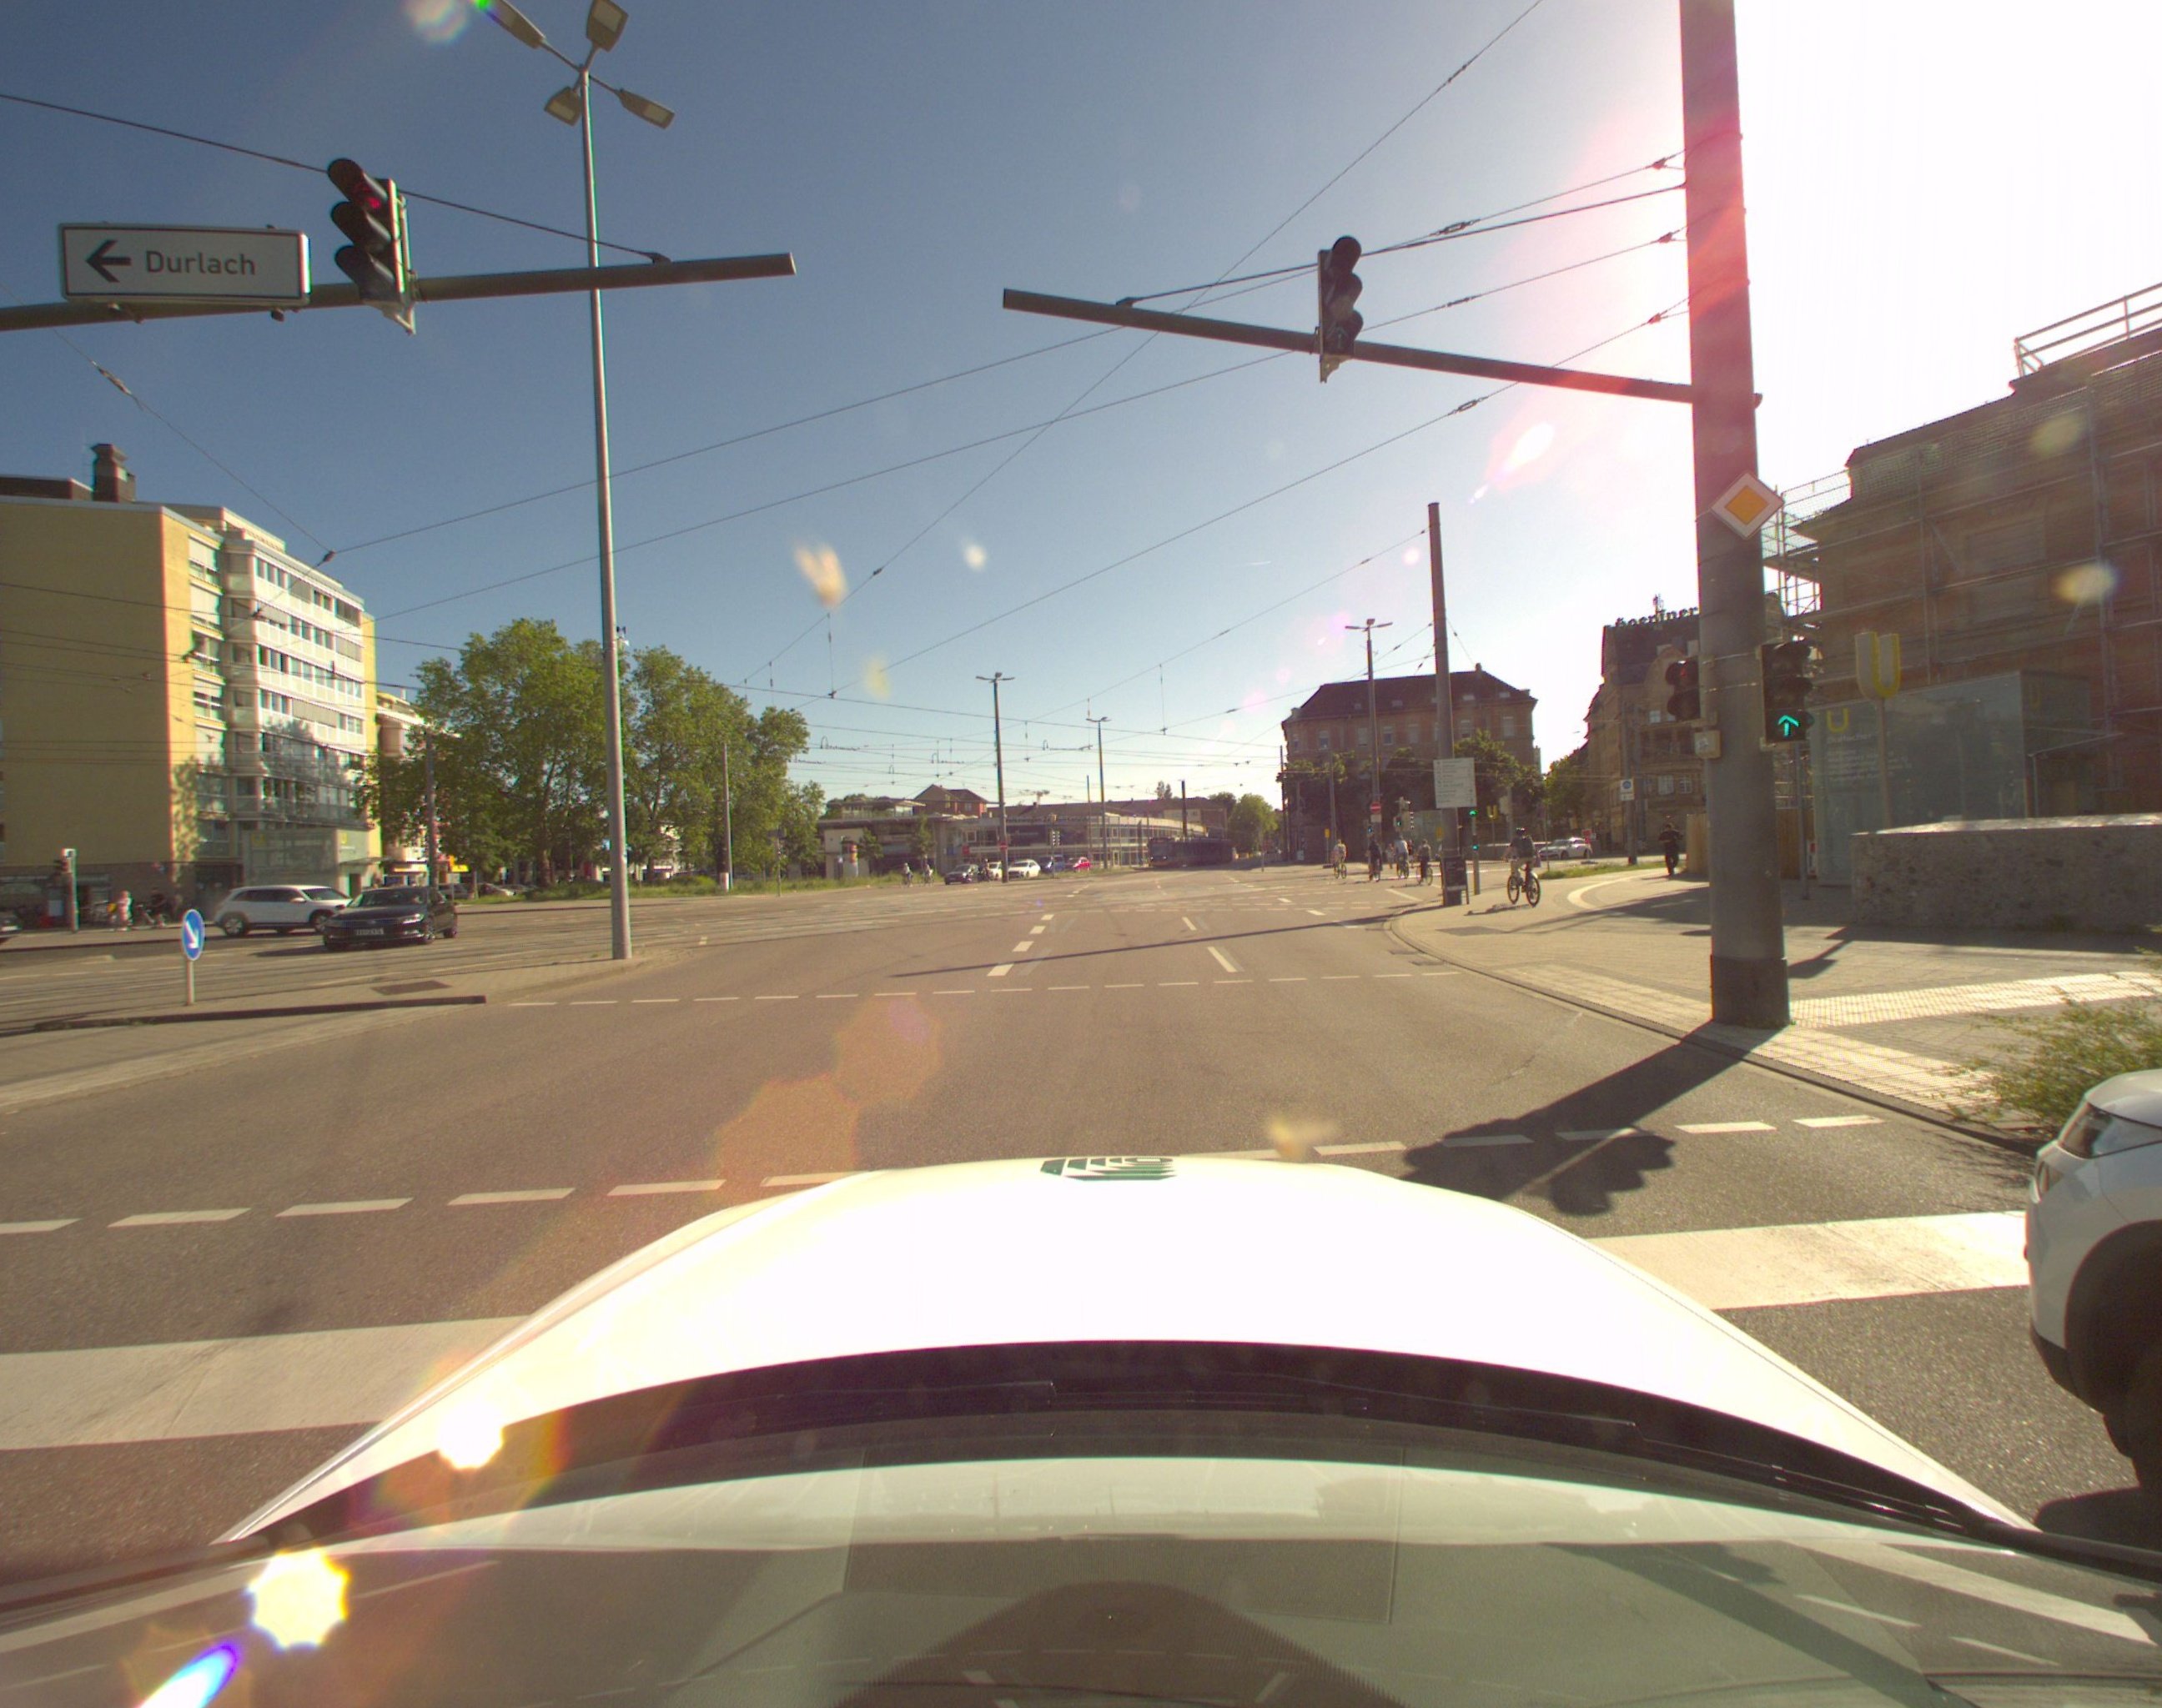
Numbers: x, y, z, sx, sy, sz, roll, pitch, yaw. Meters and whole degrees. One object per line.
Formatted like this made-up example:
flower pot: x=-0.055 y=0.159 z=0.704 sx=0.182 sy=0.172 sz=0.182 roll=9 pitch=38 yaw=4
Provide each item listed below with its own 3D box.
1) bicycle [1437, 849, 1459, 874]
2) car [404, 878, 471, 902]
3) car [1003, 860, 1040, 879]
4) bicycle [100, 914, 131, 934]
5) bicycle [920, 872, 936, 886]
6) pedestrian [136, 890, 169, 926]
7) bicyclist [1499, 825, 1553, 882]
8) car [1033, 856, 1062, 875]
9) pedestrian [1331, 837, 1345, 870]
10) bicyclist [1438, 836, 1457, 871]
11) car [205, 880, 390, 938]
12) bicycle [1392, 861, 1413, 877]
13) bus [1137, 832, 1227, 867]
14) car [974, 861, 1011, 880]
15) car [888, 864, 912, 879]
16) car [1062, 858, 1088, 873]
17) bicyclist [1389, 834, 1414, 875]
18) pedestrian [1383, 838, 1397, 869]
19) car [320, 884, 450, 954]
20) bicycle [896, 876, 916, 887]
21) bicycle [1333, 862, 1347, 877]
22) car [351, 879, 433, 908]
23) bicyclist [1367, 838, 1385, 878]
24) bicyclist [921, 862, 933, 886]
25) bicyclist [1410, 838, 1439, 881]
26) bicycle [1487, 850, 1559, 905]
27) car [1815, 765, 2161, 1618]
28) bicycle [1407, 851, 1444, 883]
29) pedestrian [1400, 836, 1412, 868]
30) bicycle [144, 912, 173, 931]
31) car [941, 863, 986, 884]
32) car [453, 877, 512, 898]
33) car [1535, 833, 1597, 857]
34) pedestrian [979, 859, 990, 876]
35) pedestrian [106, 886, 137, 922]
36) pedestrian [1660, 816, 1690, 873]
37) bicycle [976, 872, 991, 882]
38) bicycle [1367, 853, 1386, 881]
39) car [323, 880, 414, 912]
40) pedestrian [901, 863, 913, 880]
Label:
bicycle: x=17.176 y=0.324 z=38.150 sx=0.568 sy=1.125 sz=1.746 roll=-2 pitch=0 yaw=12
car: x=-49.875 y=2.762 z=63.193 sx=3.742 sy=1.662 sz=1.585 roll=-2 pitch=-1 yaw=-18
car: x=-4.620 y=1.208 z=64.084 sx=1.613 sy=1.382 sz=3.754 roll=-2 pitch=0 yaw=16
bicycle: x=-42.910 y=3.096 z=36.214 sx=0.489 sy=0.812 sz=1.595 roll=-2 pitch=-1 yaw=-35
bicycle: x=-11.281 y=1.827 z=59.983 sx=0.464 sy=0.926 sz=1.482 roll=-3 pitch=0 yaw=20
pedestrian: x=-41.615 y=2.413 z=36.502 sx=0.769 sy=1.560 sz=0.610 roll=-2 pitch=-1 yaw=-27
bicyclist: x=10.609 y=-0.007 z=19.448 sx=0.717 sy=1.279 sz=0.907 roll=-4 pitch=-1 yaw=1
car: x=-3.158 y=1.091 z=78.079 sx=1.613 sy=1.692 sz=3.702 roll=-2 pitch=0 yaw=16
pedestrian: x=12.452 y=-0.013 z=39.416 sx=0.543 sy=1.562 sz=0.863 roll=-2 pitch=-1 yaw=22
bicyclist: x=17.147 y=-0.024 z=38.108 sx=0.568 sy=1.568 sz=0.950 roll=-2 pitch=-1 yaw=12
car: x=-26.437 y=1.831 z=27.597 sx=4.283 sy=1.654 sz=1.856 roll=-2 pitch=0 yaw=-3
bicycle: x=14.180 y=0.651 z=35.954 sx=0.534 sy=0.655 sz=1.471 roll=-3 pitch=0 yaw=9
bus: x=12.531 y=-0.352 z=96.433 sx=3.802 sy=3.607 sz=25.001 roll=-1 pitch=-1 yaw=23
car: x=-7.127 y=1.301 z=66.022 sx=1.613 sy=1.424 sz=3.702 roll=-2 pitch=0 yaw=16
car: x=-22.066 y=2.161 z=99.418 sx=1.959 sy=1.706 sz=4.085 roll=-2 pitch=0 yaw=2
car: x=-0.616 y=1.174 z=85.153 sx=1.613 sy=1.364 sz=3.703 roll=-3 pitch=0 yaw=18
bicyclist: x=14.159 y=0.029 z=36.024 sx=0.743 sy=1.779 sz=0.926 roll=-3 pitch=-1 yaw=9
pedestrian: x=20.317 y=-0.060 z=53.548 sx=0.574 sy=2.013 sz=0.449 roll=-2 pitch=0 yaw=-16
car: x=-17.151 y=1.531 z=20.265 sx=1.733 sy=1.438 sz=4.135 roll=-2 pitch=0 yaw=-31
bicycle: x=-12.469 y=1.971 z=58.001 sx=0.418 sy=0.718 sz=1.484 roll=-3 pitch=0 yaw=32
bicycle: x=12.516 y=0.743 z=39.330 sx=0.532 sy=0.655 sz=1.734 roll=-3 pitch=0 yaw=21
car: x=-45.774 y=2.607 z=54.183 sx=3.742 sy=1.662 sz=1.585 roll=-2 pitch=-1 yaw=-18
bicyclist: x=12.254 y=0.148 z=33.824 sx=0.620 sy=1.637 sz=0.999 roll=1 pitch=1 yaw=17
bicyclist: x=-11.331 y=1.439 z=59.861 sx=0.564 sy=1.714 sz=0.652 roll=-3 pitch=-1 yaw=19
bicyclist: x=13.099 y=0.219 z=31.058 sx=0.682 sy=1.598 sz=0.978 roll=-2 pitch=-1 yaw=4
bicycle: x=10.525 y=0.538 z=19.475 sx=0.687 sy=1.218 sz=1.835 roll=-4 pitch=0 yaw=2
car: x=2.887 y=0.610 z=0.102 sx=1.689 sy=1.642 sz=4.297 roll=-2 pitch=0 yaw=0
bicycle: x=13.105 y=0.473 z=31.001 sx=0.682 sy=1.163 sz=1.885 roll=-2 pitch=0 yaw=4
pedestrian: x=20.956 y=-0.121 z=52.523 sx=0.461 sy=2.013 sz=0.449 roll=-2 pitch=0 yaw=-16
bicycle: x=-41.644 y=3.032 z=36.767 sx=0.462 sy=0.780 sz=1.789 roll=-2 pitch=-1 yaw=-35
car: x=-8.640 y=1.443 z=60.095 sx=1.689 sy=1.354 sz=3.719 roll=-2 pitch=0 yaw=19
car: x=-51.459 y=2.865 z=70.113 sx=3.742 sy=1.662 sz=1.585 roll=-2 pitch=-1 yaw=-18
car: x=36.158 y=-0.662 z=60.700 sx=4.330 sy=1.563 sz=1.786 roll=-2 pitch=0 yaw=-24
pedestrian: x=-7.071 y=0.973 z=59.643 sx=0.419 sy=1.204 sz=0.753 roll=-3 pitch=-1 yaw=19
pedestrian: x=-42.793 y=2.215 z=36.327 sx=0.717 sy=1.560 sz=0.552 roll=-2 pitch=-1 yaw=-26
pedestrian: x=20.020 y=-0.323 z=27.465 sx=0.692 sy=1.881 sz=0.725 roll=-3 pitch=-1 yaw=33
bicycle: x=-7.111 y=1.670 z=59.480 sx=0.419 sy=0.718 sz=1.642 roll=-3 pitch=0 yaw=19
bicycle: x=12.277 y=0.519 z=33.839 sx=0.620 sy=1.114 sz=1.859 roll=1 pitch=1 yaw=17
car: x=-42.893 y=2.514 z=49.077 sx=3.742 sy=1.662 sz=1.585 roll=-2 pitch=-1 yaw=-18
pedestrian: x=-12.431 y=1.267 z=58.134 sx=0.418 sy=1.204 sz=0.685 roll=-3 pitch=-1 yaw=32
